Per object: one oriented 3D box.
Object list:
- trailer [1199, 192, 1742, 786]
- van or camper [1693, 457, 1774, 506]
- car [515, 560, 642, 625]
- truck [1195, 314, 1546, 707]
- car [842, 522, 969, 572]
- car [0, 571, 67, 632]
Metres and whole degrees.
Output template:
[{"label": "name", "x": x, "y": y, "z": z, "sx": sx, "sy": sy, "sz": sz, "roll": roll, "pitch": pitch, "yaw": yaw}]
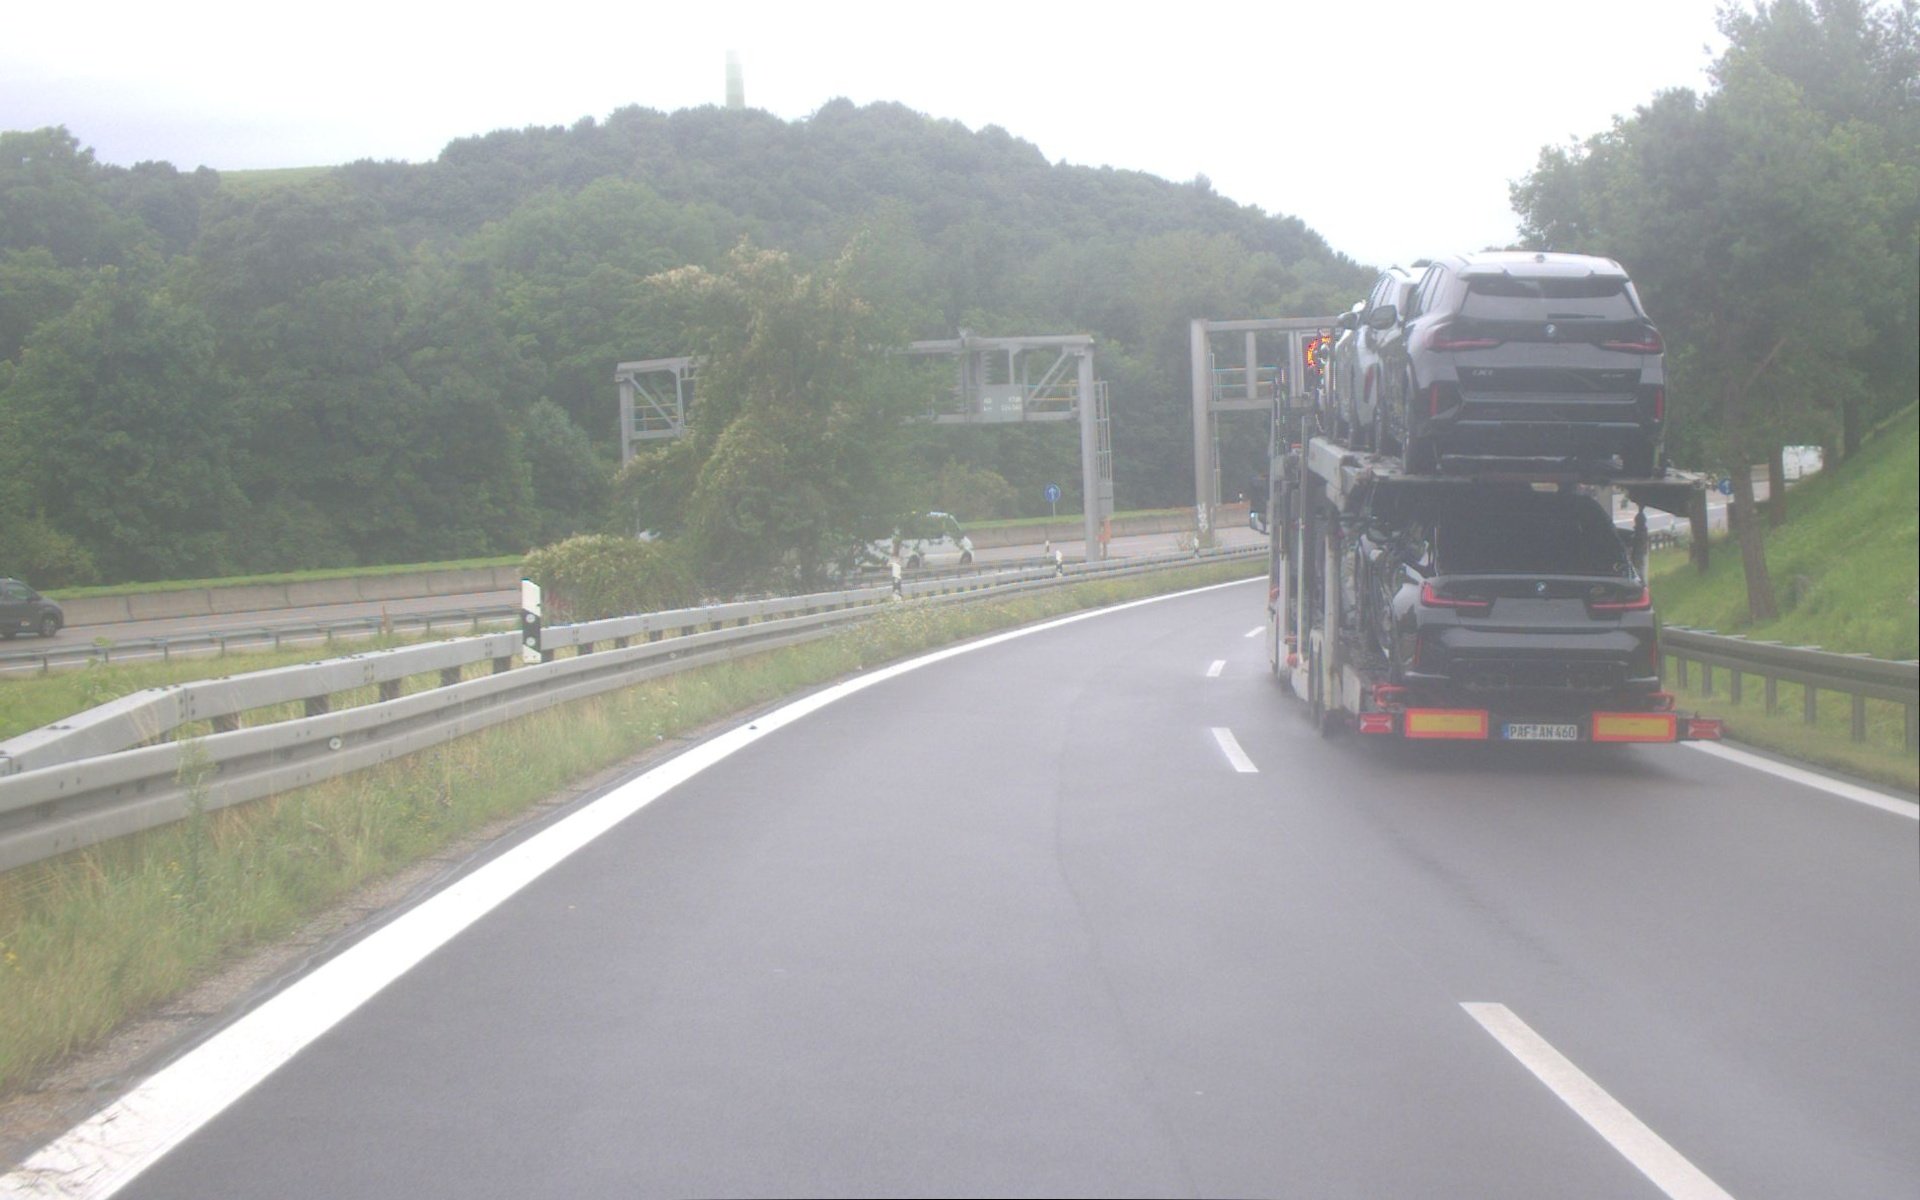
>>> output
[{"label": "trailer", "x": 3.901, "y": -0.840, "z": 29.511, "sx": 3.449, "sy": 3.986, "sz": 12.025, "roll": 1, "pitch": 1, "yaw": 3}, {"label": "van or camper", "x": 32.694, "y": -4.995, "z": 145.240, "sx": 1.997, "sy": 2.007, "sz": 4.577, "roll": 0, "pitch": 1, "yaw": 31}, {"label": "car", "x": -12.733, "y": -0.264, "z": 114.999, "sx": 1.997, "sy": 1.711, "sz": 3.993, "roll": -5, "pitch": 2, "yaw": 33}, {"label": "truck", "x": 4.610, "y": -0.996, "z": 40.962, "sx": 3.395, "sy": 3.986, "sz": 10.846, "roll": 1, "pitch": 1, "yaw": 3}, {"label": "car", "x": -1.952, "y": -1.963, "z": 125.615, "sx": 1.997, "sy": 1.711, "sz": 5.314, "roll": -1, "pitch": 1, "yaw": 33}, {"label": "car", "x": -27.610, "y": 0.058, "z": 97.566, "sx": 1.997, "sy": 1.656, "sz": 3.992, "roll": 0, "pitch": 1, "yaw": 35}]
